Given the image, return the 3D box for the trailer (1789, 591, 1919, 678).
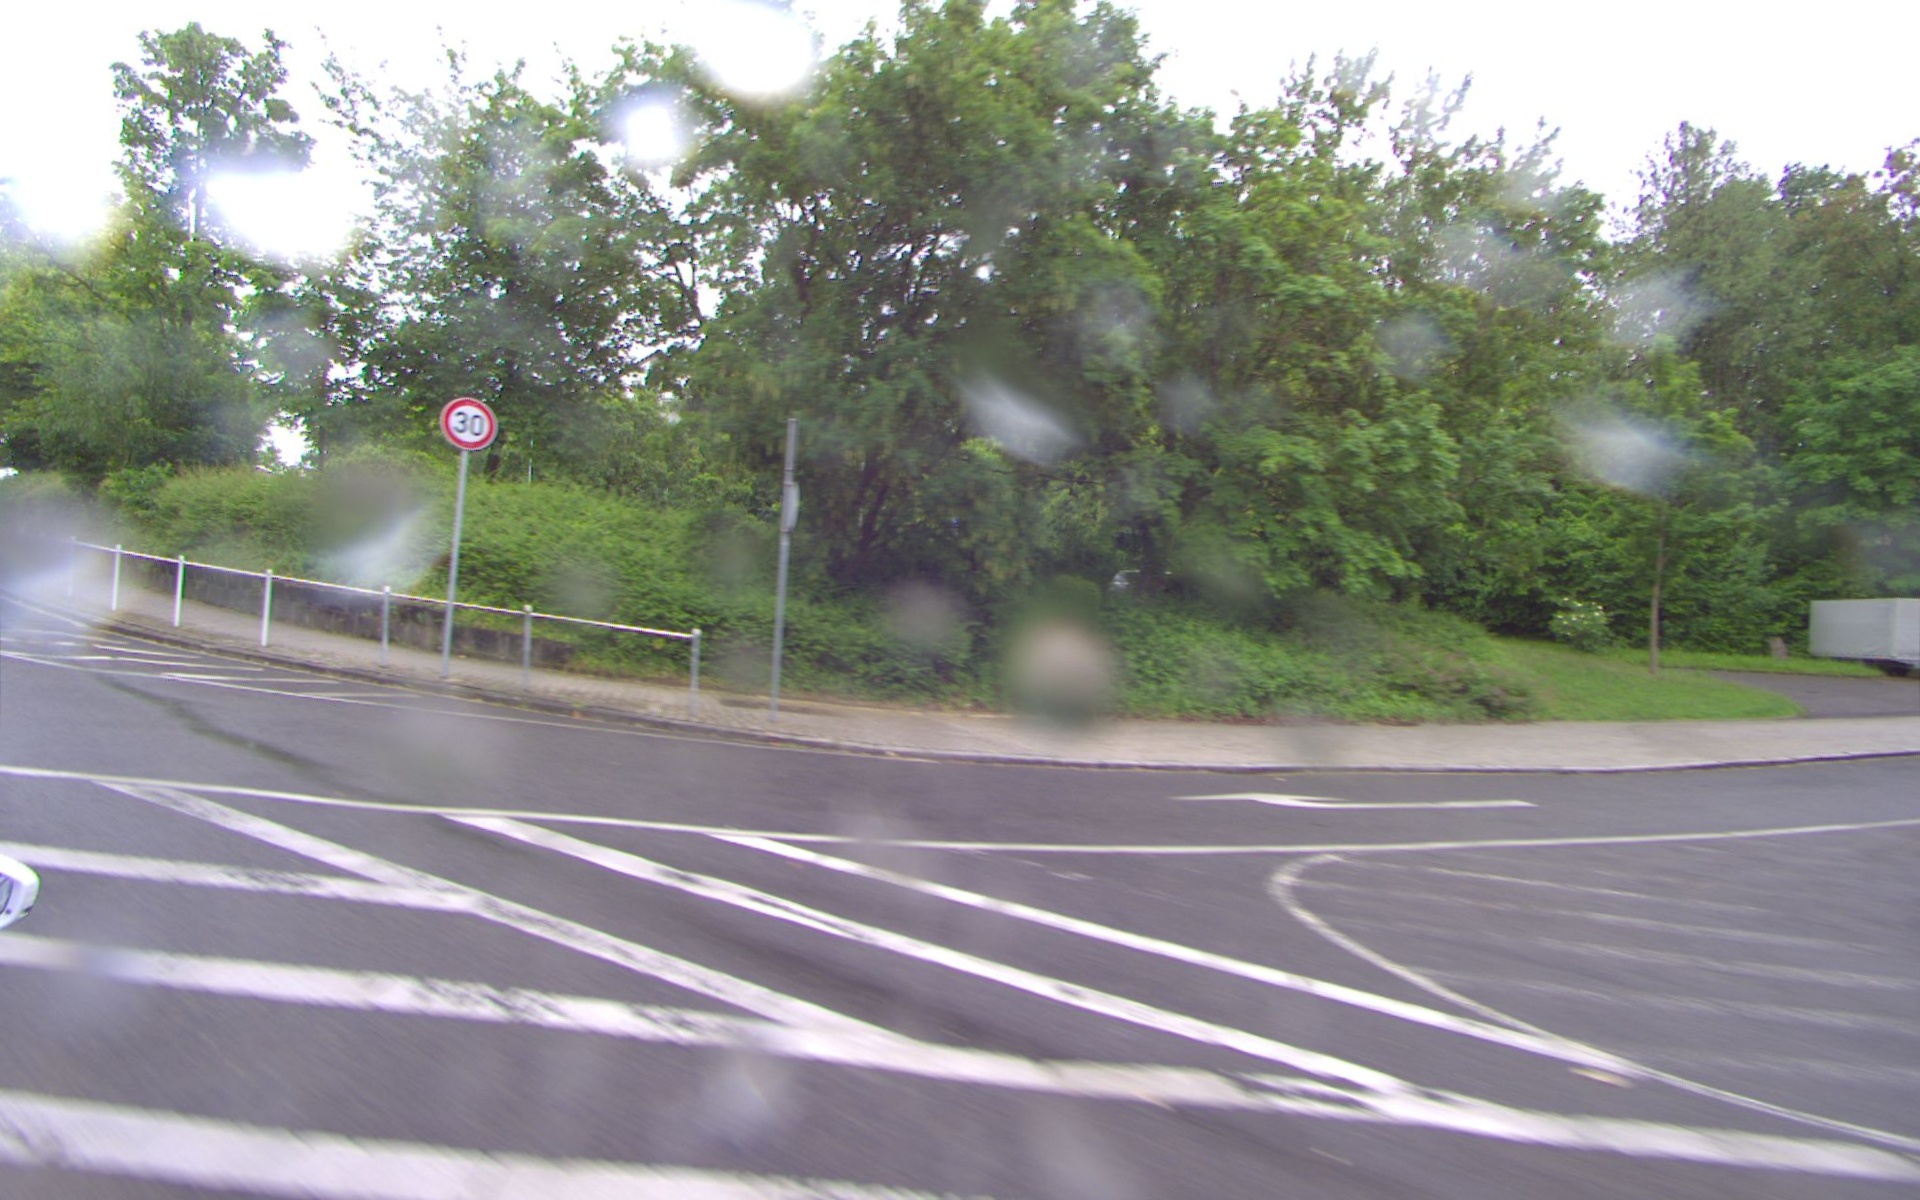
[{"bbox_3d":[33.425,1.357,36.995,1.962,2.753,5.275,7,-2,10],"label":"trailer"}]
